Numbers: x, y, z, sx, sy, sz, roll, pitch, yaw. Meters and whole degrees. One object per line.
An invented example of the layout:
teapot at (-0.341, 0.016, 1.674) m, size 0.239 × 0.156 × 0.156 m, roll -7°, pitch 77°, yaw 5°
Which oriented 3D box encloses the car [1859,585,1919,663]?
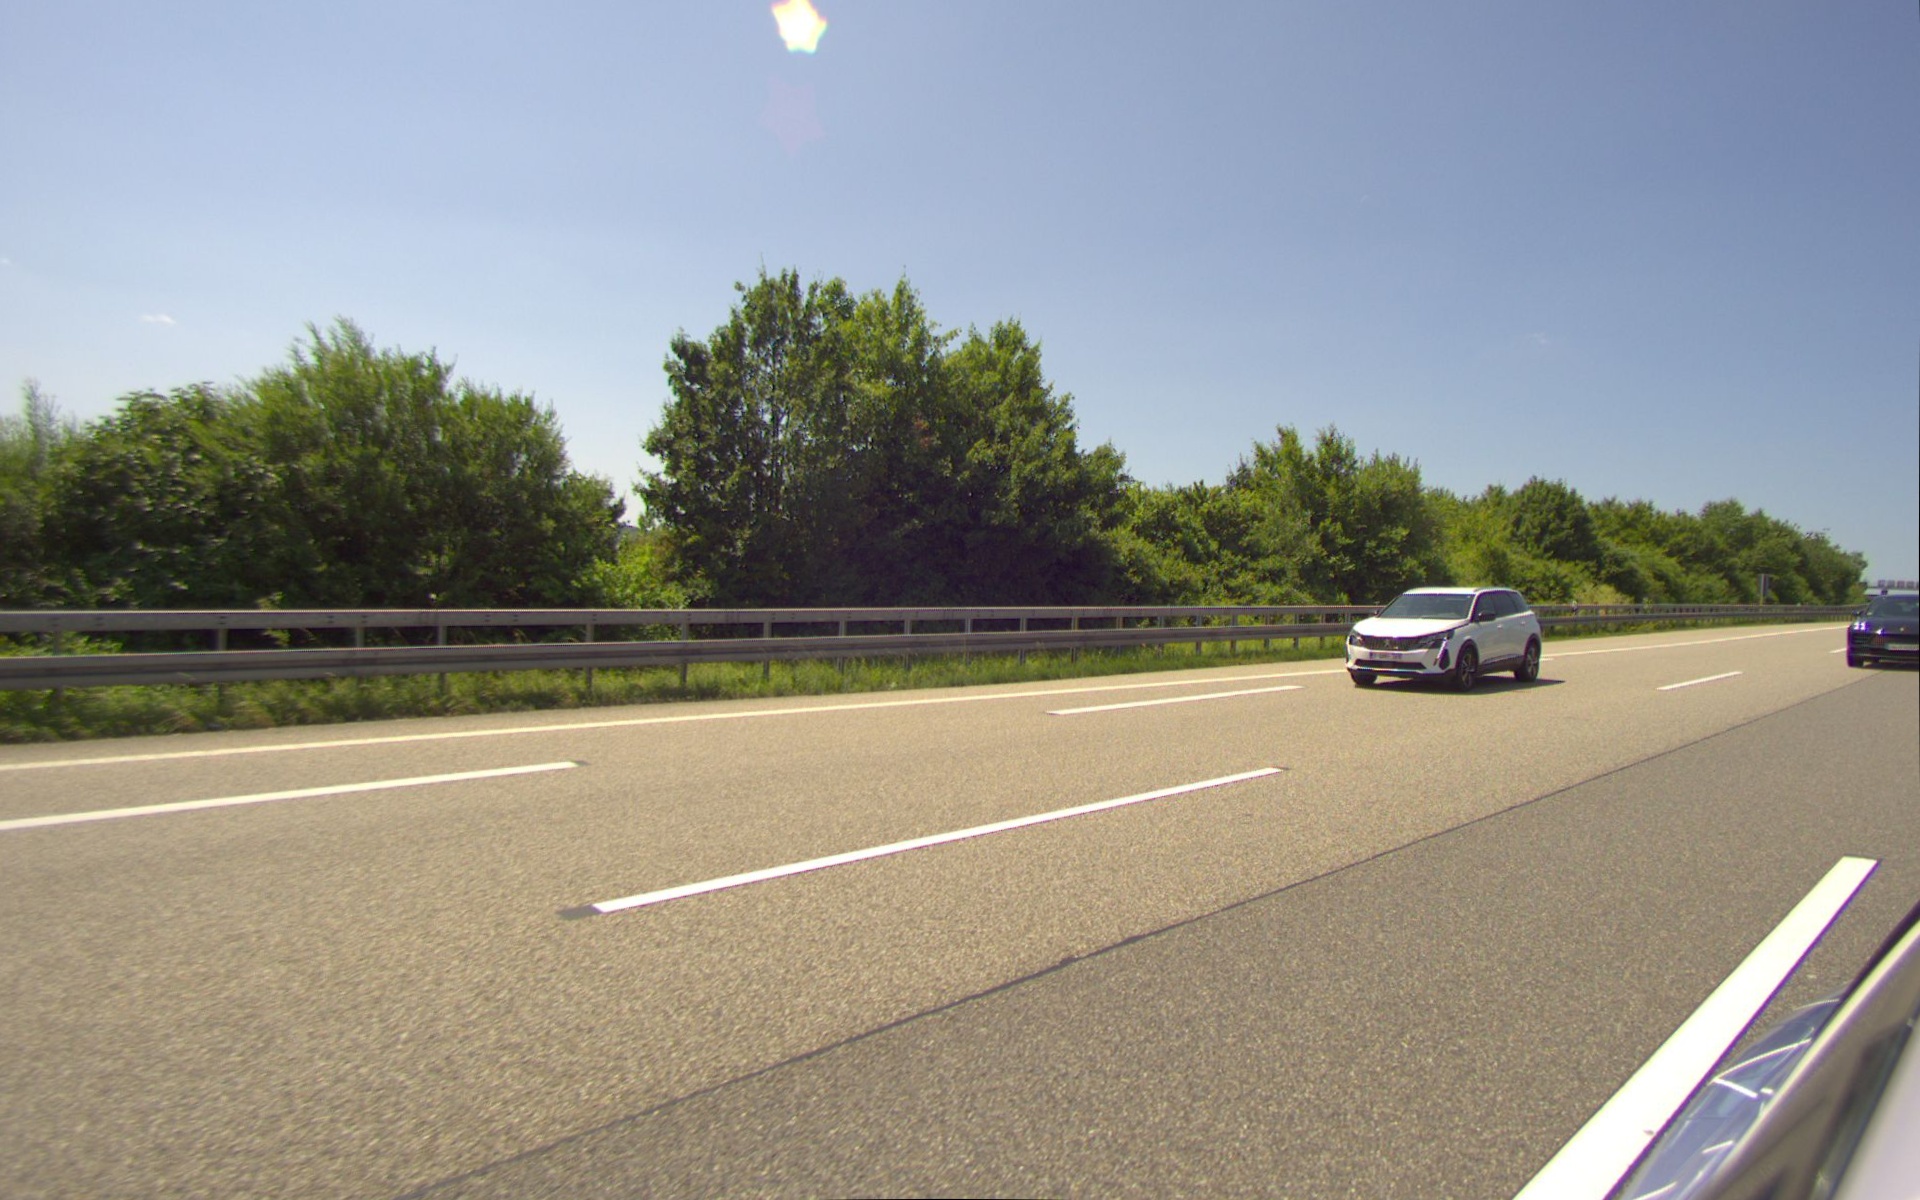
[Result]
car at (21.410, 0.470, 22.296) m, size 4.060 × 1.615 × 1.930 m, roll -1°, pitch 1°, yaw -41°

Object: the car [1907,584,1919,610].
car at (74.005, -0.262, 77.600) m, size 4.224 × 1.943 × 1.805 m, roll -1°, pitch 1°, yaw -44°

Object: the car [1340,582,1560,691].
car at (8.359, 0.508, 17.082) m, size 4.540 × 1.611 × 1.746 m, roll -1°, pitch 1°, yaw -41°
